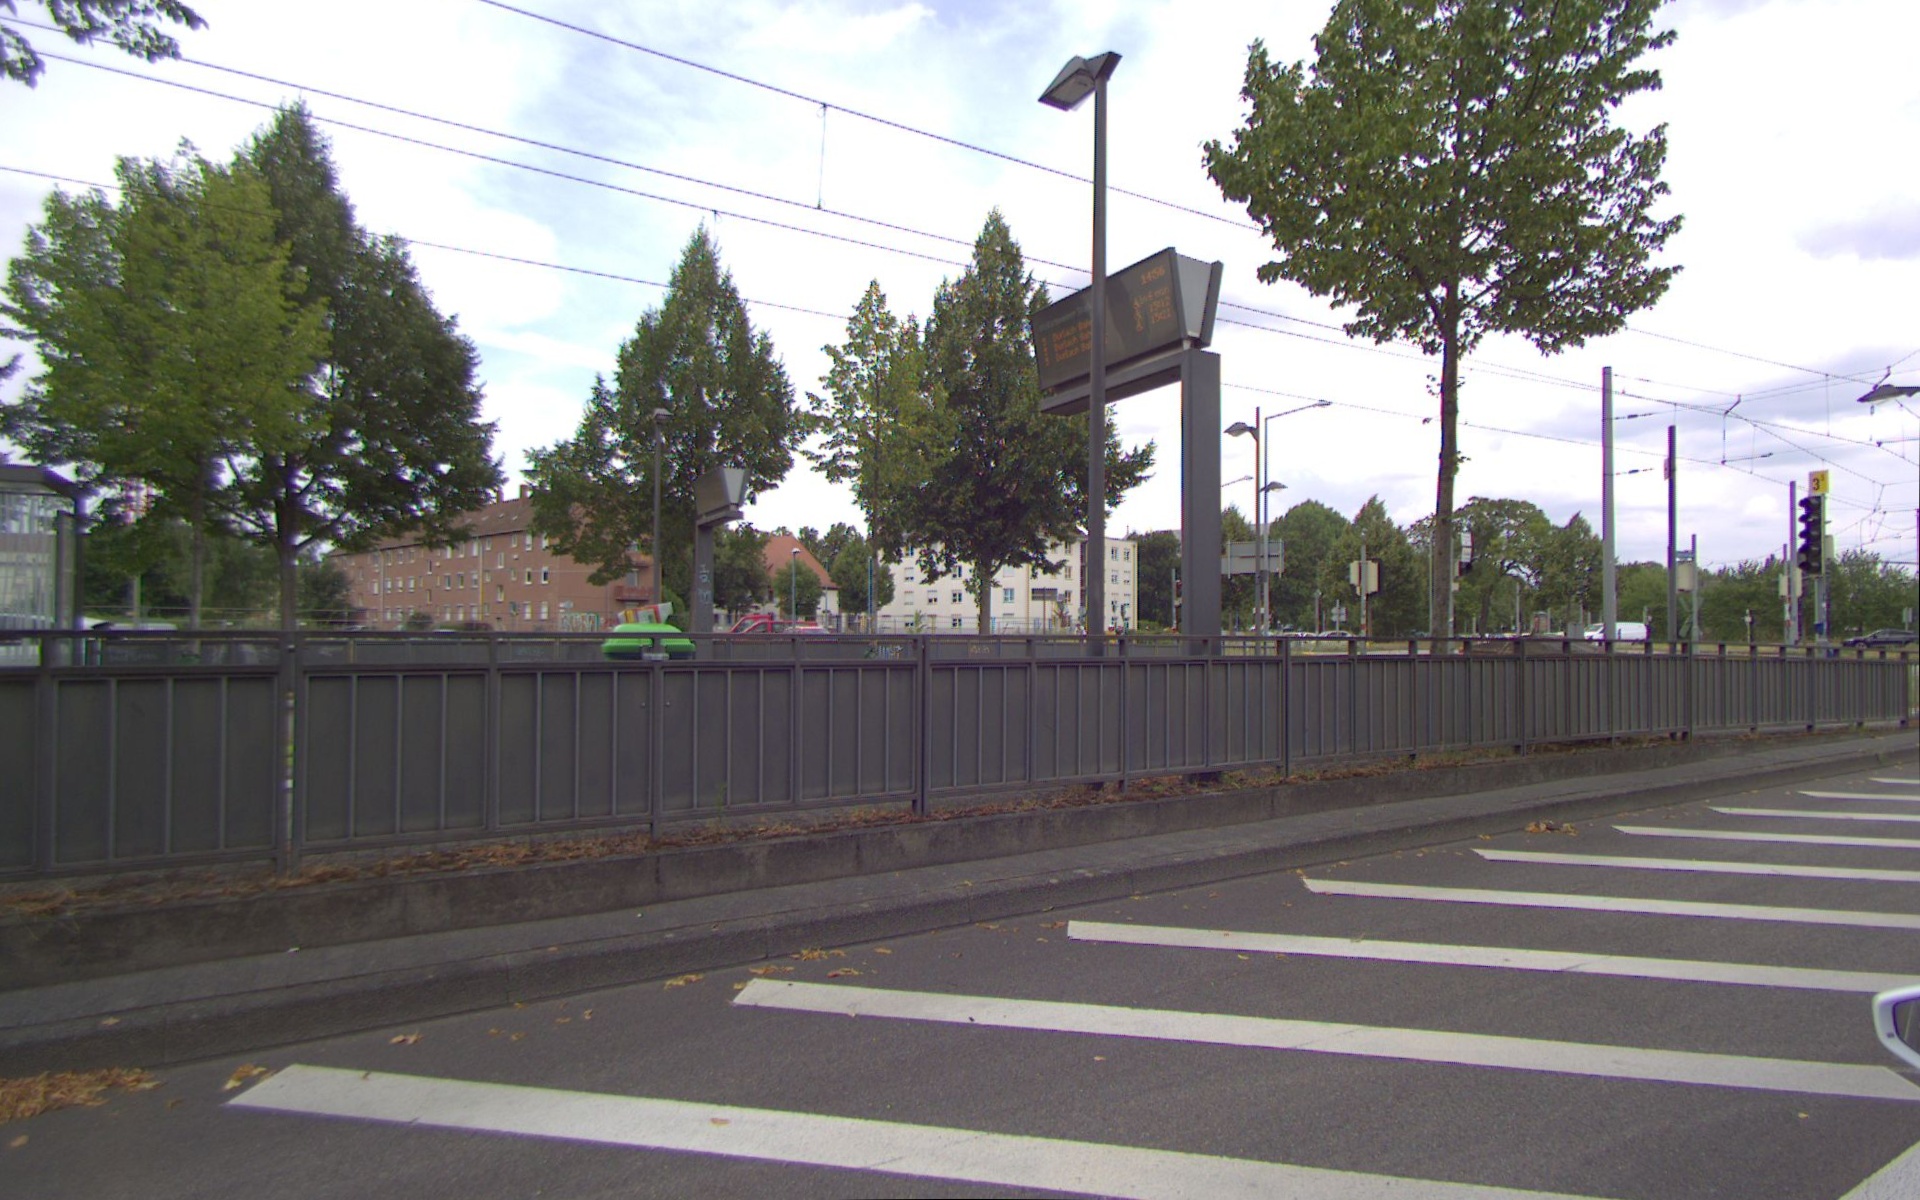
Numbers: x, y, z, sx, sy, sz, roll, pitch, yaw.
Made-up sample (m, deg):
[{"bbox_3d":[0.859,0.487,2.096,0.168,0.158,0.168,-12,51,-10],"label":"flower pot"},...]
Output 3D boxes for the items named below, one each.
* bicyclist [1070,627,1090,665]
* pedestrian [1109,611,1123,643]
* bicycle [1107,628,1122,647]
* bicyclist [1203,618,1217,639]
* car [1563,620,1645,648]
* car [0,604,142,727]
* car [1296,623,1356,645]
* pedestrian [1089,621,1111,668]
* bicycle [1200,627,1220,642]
[{"bbox_3d":[5.945,2.284,49.853,0.815,1.859,0.783,0,-1,22],"label":"bicyclist"},{"bbox_3d":[10.014,1.765,64.581,0.783,2.040,0.910,0,-1,16],"label":"pedestrian"},{"bbox_3d":[9.971,2.405,64.601,0.600,1.151,2.566,2,0,16],"label":"bicycle"},{"bbox_3d":[18.964,2.136,76.206,0.874,1.583,0.750,0,-1,-2],"label":"bicyclist"},{"bbox_3d":[46.330,2.434,72.302,4.909,2.040,1.997,0,-1,-9],"label":"car"},{"bbox_3d":[-14.243,0.886,13.810,4.332,1.639,1.985,1,-1,-30],"label":"car"},{"bbox_3d":[28.126,2.638,77.274,3.920,1.663,2.001,0,-1,2],"label":"car"},{"bbox_3d":[5.771,1.826,41.414,0.637,1.874,0.491,7,4,22],"label":"pedestrian"},{"bbox_3d":[18.907,2.619,76.113,0.793,1.144,2.708,0,-1,-1],"label":"bicycle"}]
